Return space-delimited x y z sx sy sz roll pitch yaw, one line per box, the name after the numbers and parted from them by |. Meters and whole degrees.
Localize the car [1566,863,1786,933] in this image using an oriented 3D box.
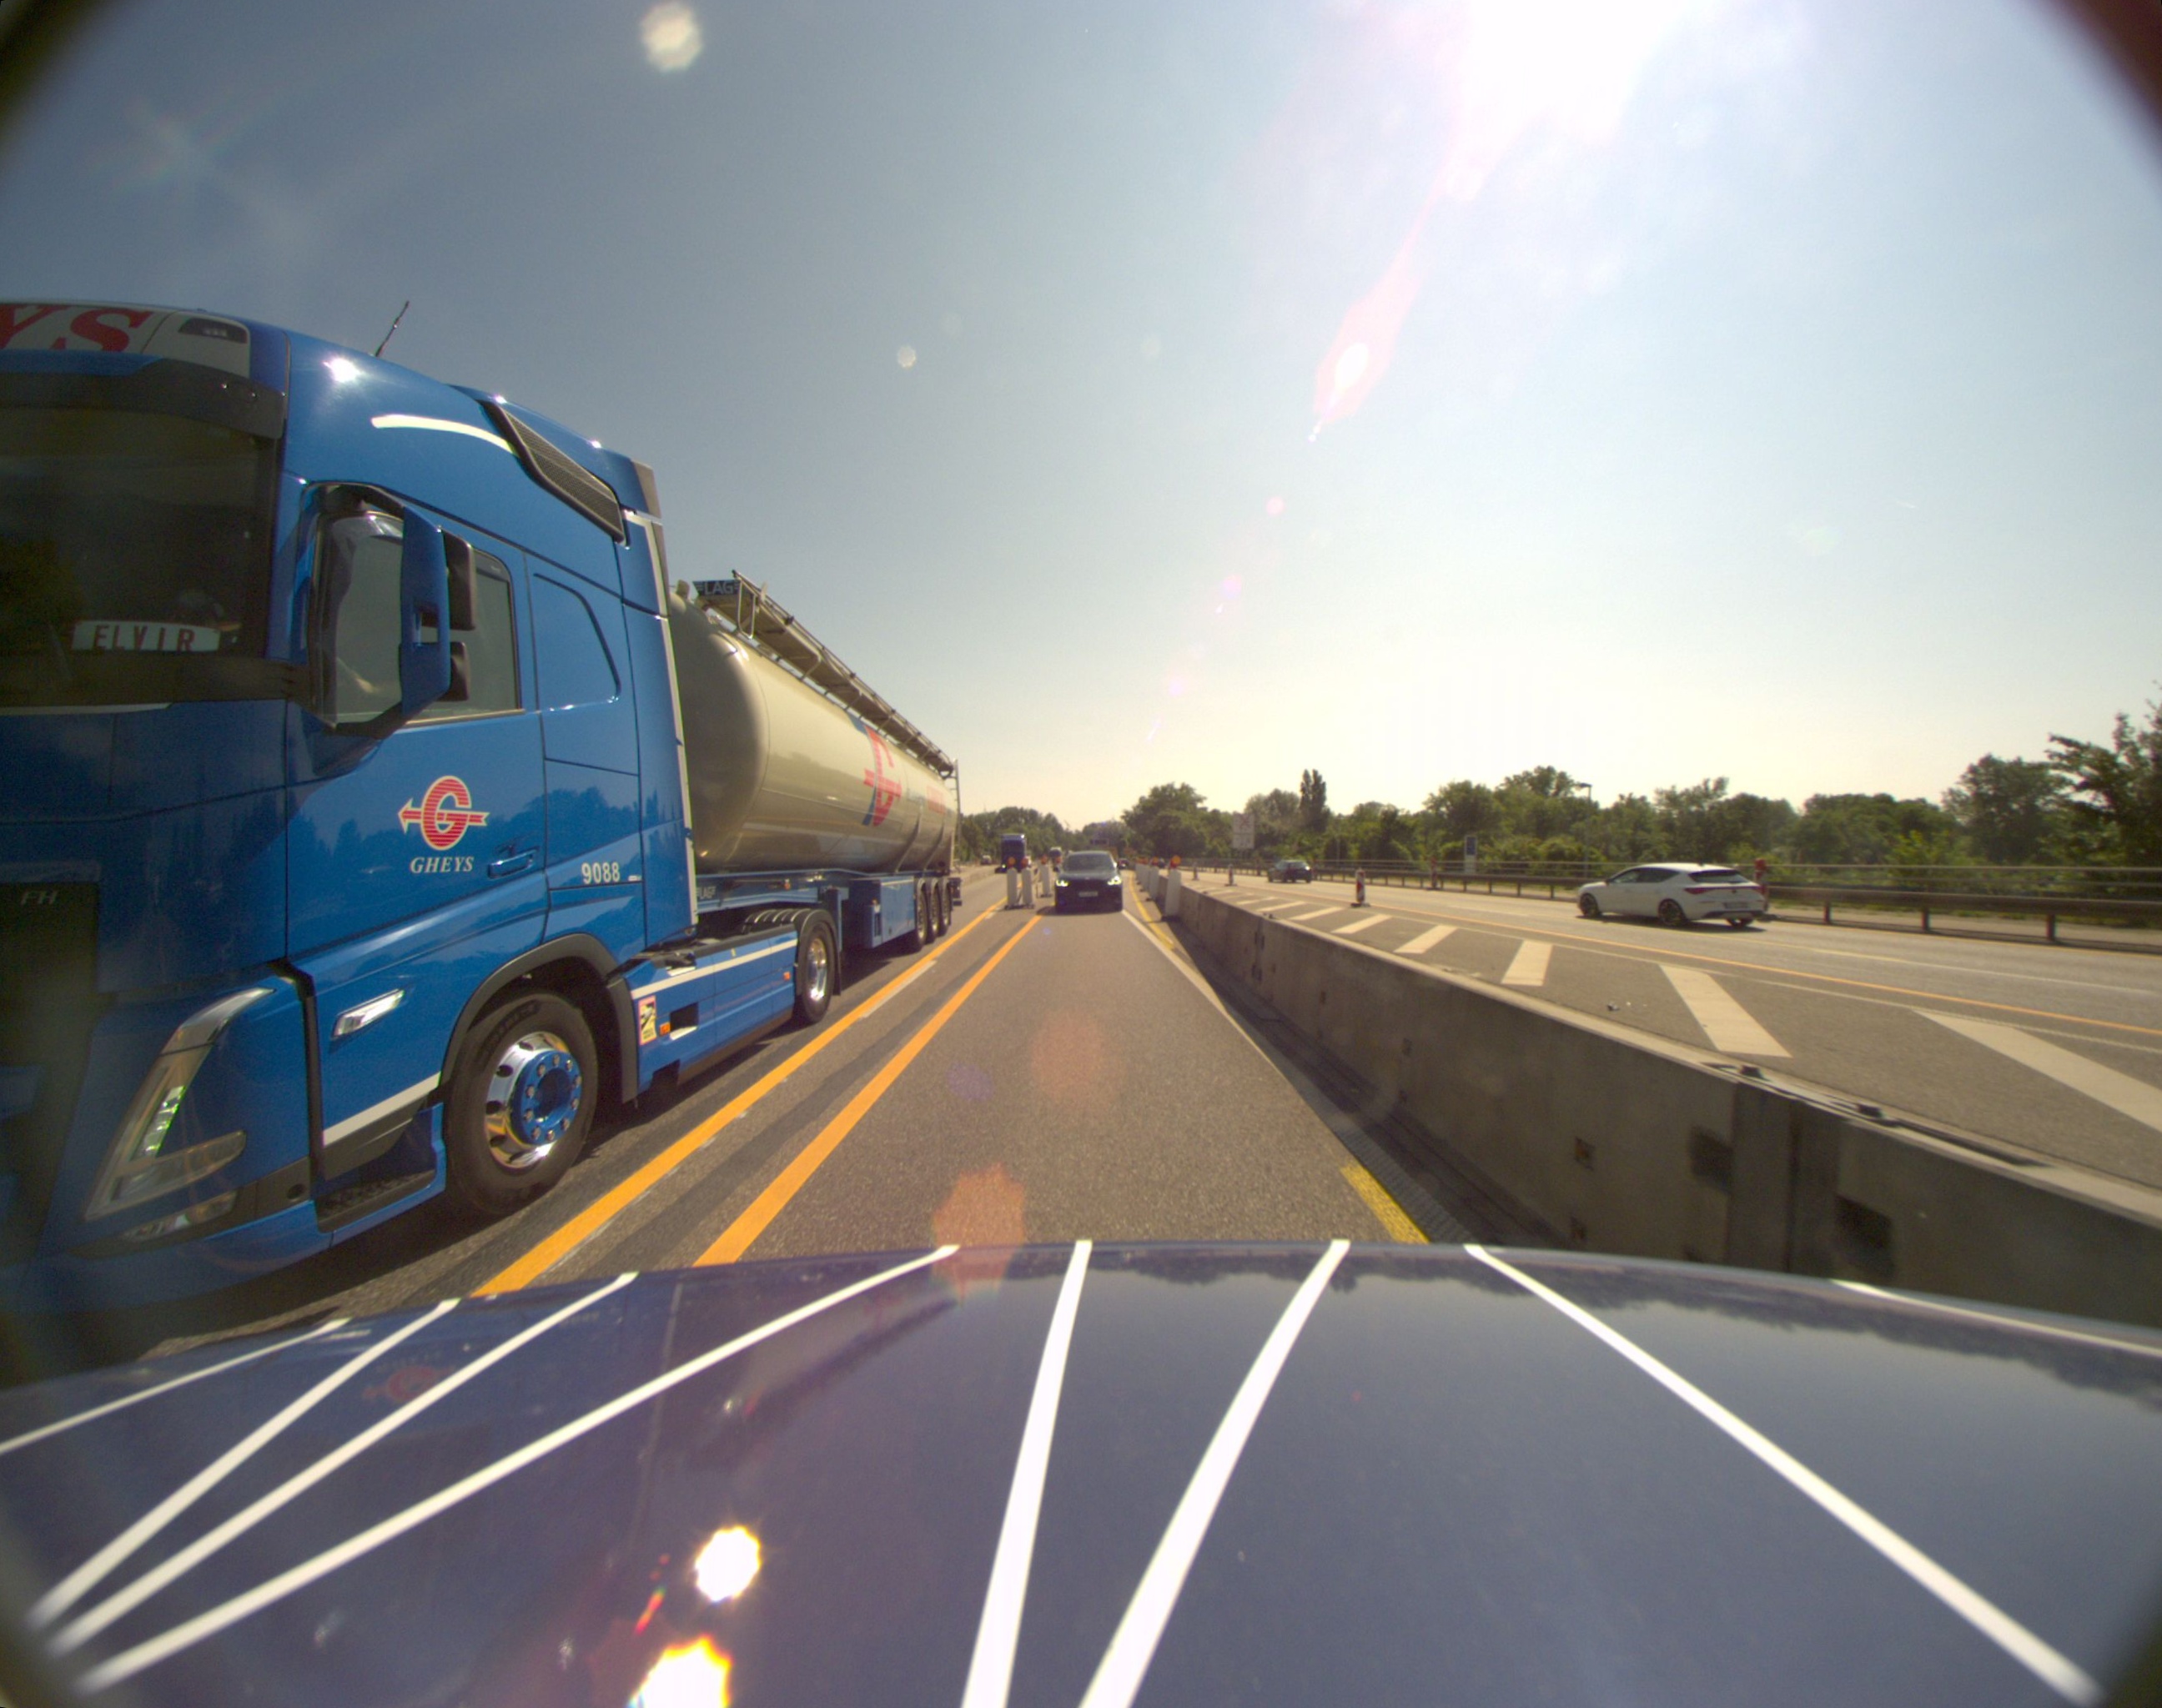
14.184 0.963 18.515 1.723 1.389 4.518 -1 0 -2 | car

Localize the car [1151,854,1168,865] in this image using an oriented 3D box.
10.769 0.680 104.226 1.671 1.433 4.996 0 0 -1 | car

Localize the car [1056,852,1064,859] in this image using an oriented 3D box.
-4.776 0.378 173.817 1.747 1.621 4.092 1 0 0 | car

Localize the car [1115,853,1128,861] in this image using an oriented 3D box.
7.314 0.548 137.611 1.938 1.499 4.467 0 0 -4 | car

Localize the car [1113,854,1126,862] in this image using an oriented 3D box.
6.401 0.646 127.295 1.694 1.368 4.271 0 0 -2 | car

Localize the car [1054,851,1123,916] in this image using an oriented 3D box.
0.255 0.770 22.394 1.789 1.651 4.487 -2 0 1 | car

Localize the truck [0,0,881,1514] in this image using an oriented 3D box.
-3.707 -0.305 5.621 2.701 4.078 7.298 1 0 -2 | truck

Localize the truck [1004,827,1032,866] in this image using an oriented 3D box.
-6.670 -0.785 81.302 2.862 3.962 8.661 1 0 -4 | truck

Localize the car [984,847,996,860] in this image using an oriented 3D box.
-18.146 -0.137 151.608 2.111 2.627 5.979 1 0 -9 | car

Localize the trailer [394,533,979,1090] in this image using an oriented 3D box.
-3.805 -0.334 11.987 2.701 4.113 12.612 1 0 0 | trailer

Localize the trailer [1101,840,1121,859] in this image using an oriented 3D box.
6.562 -0.976 167.844 2.769 4.112 14.525 1 0 -4 | trailer

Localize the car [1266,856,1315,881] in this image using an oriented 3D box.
13.274 0.875 48.436 1.742 1.467 4.644 0 0 -1 | car

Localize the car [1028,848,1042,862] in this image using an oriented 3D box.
-6.787 0.115 112.261 1.999 2.002 3.998 1 0 -3 | car
